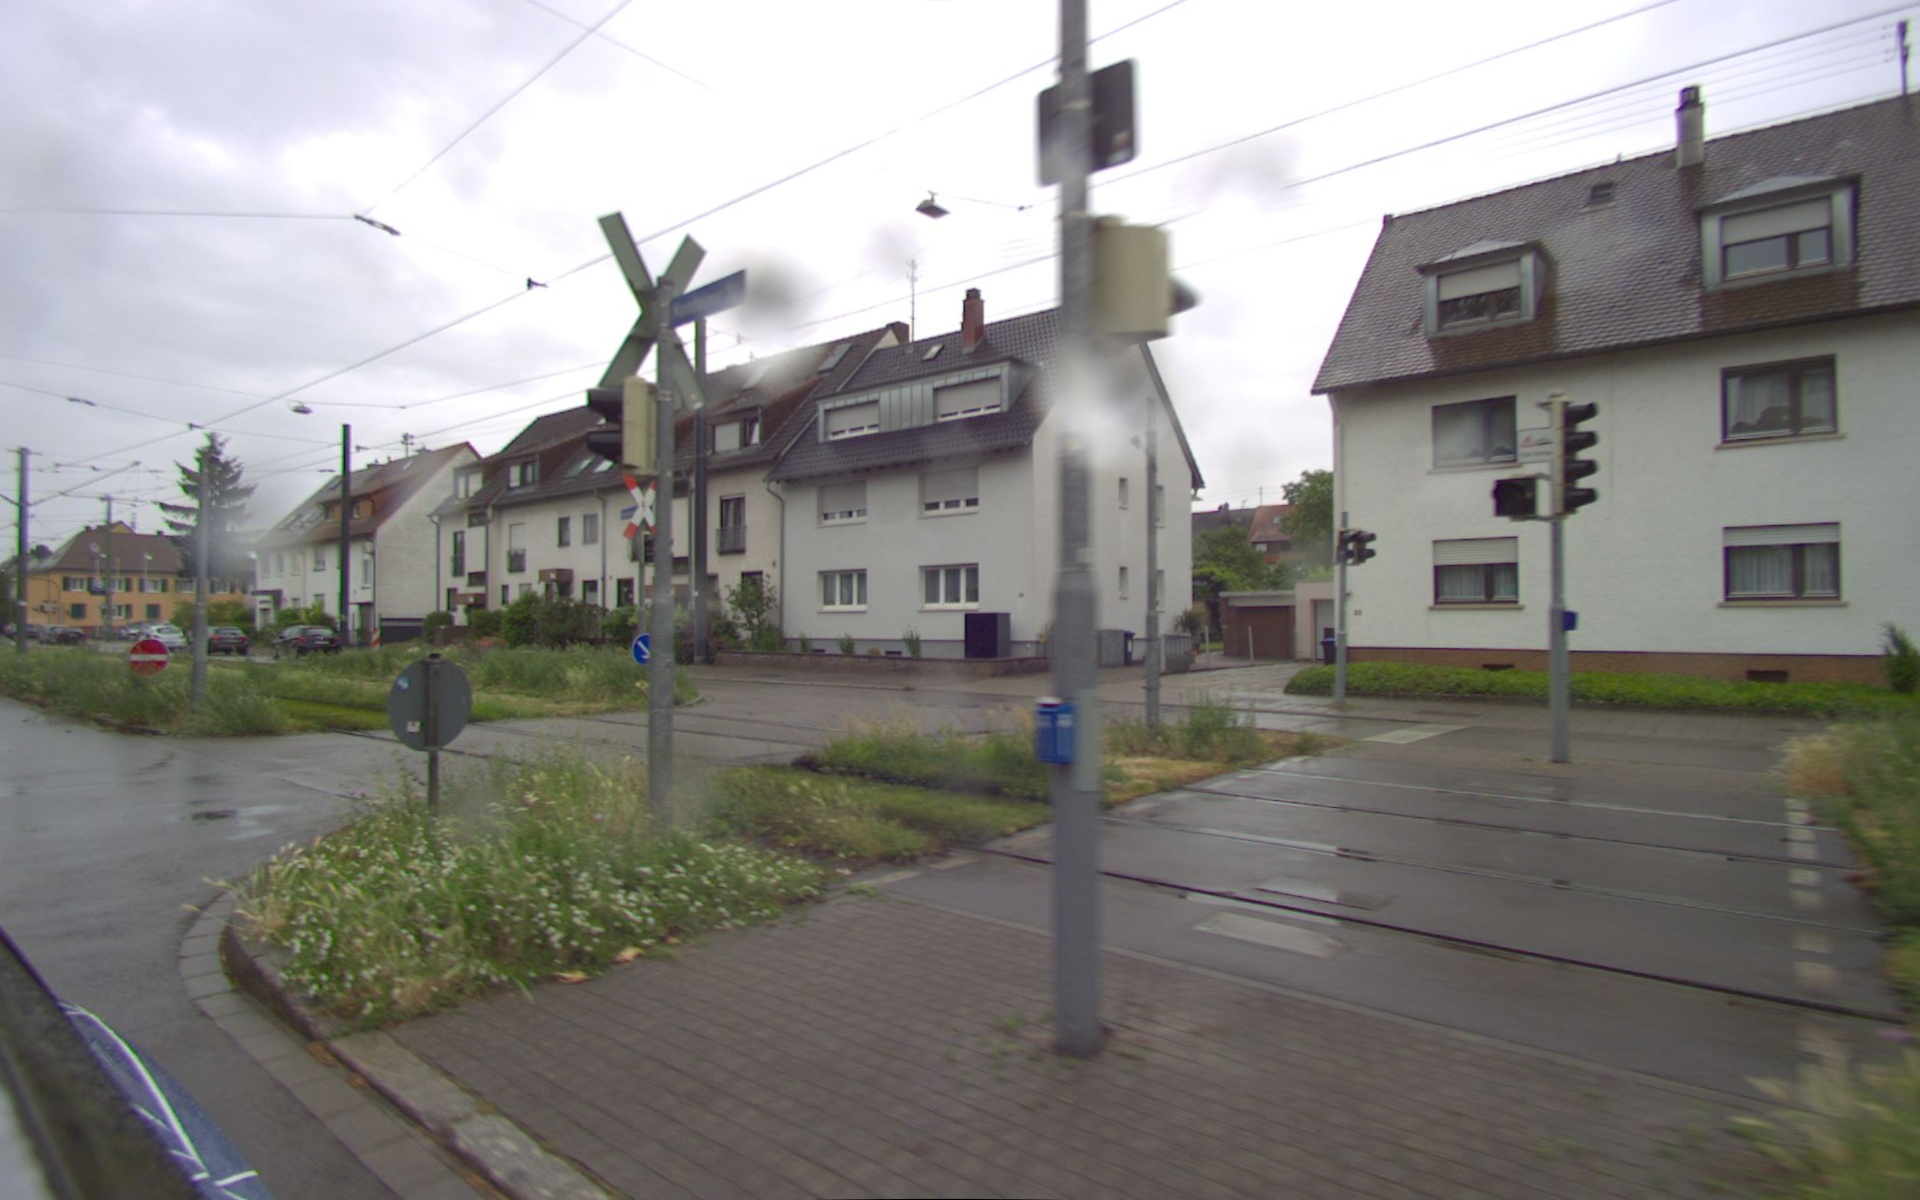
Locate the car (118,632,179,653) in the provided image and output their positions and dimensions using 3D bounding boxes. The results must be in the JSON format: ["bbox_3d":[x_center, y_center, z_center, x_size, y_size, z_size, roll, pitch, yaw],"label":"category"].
[{"bbox_3d":[-68.448,3.569,85.402,3.935,1.607,1.917,0,-1,-37],"label":"car"}]

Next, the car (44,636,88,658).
[{"bbox_3d":[-67.617,3.538,76.546,3.996,1.602,1.888,-2,-3,40],"label":"car"}]

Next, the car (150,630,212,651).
[{"bbox_3d":[-64.845,3.347,84.303,3.939,1.607,1.915,0,-2,-43],"label":"car"}]

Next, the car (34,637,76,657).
[{"bbox_3d":[-71.172,3.672,79.584,3.996,1.541,1.858,-2,-3,40],"label":"car"}]

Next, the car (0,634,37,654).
[{"bbox_3d":[-86.170,3.985,91.467,1.672,1.735,3.943,-2,-1,43],"label":"car"}]

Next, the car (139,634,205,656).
[{"bbox_3d":[-63.400,3.583,81.474,1.913,1.607,3.945,-2,-2,41],"label":"car"}]

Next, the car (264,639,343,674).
[{"bbox_3d":[-28.153,2.404,43.382,3.934,1.437,1.755,-2,-3,40],"label":"car"}]

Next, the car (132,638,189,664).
[{"bbox_3d":[-46.419,2.951,58.740,3.995,1.451,1.694,-2,-3,39],"label":"car"}]

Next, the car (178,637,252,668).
[{"bbox_3d":[-37.921,2.654,51.491,4.751,1.543,1.868,-2,-3,39],"label":"car"}]
